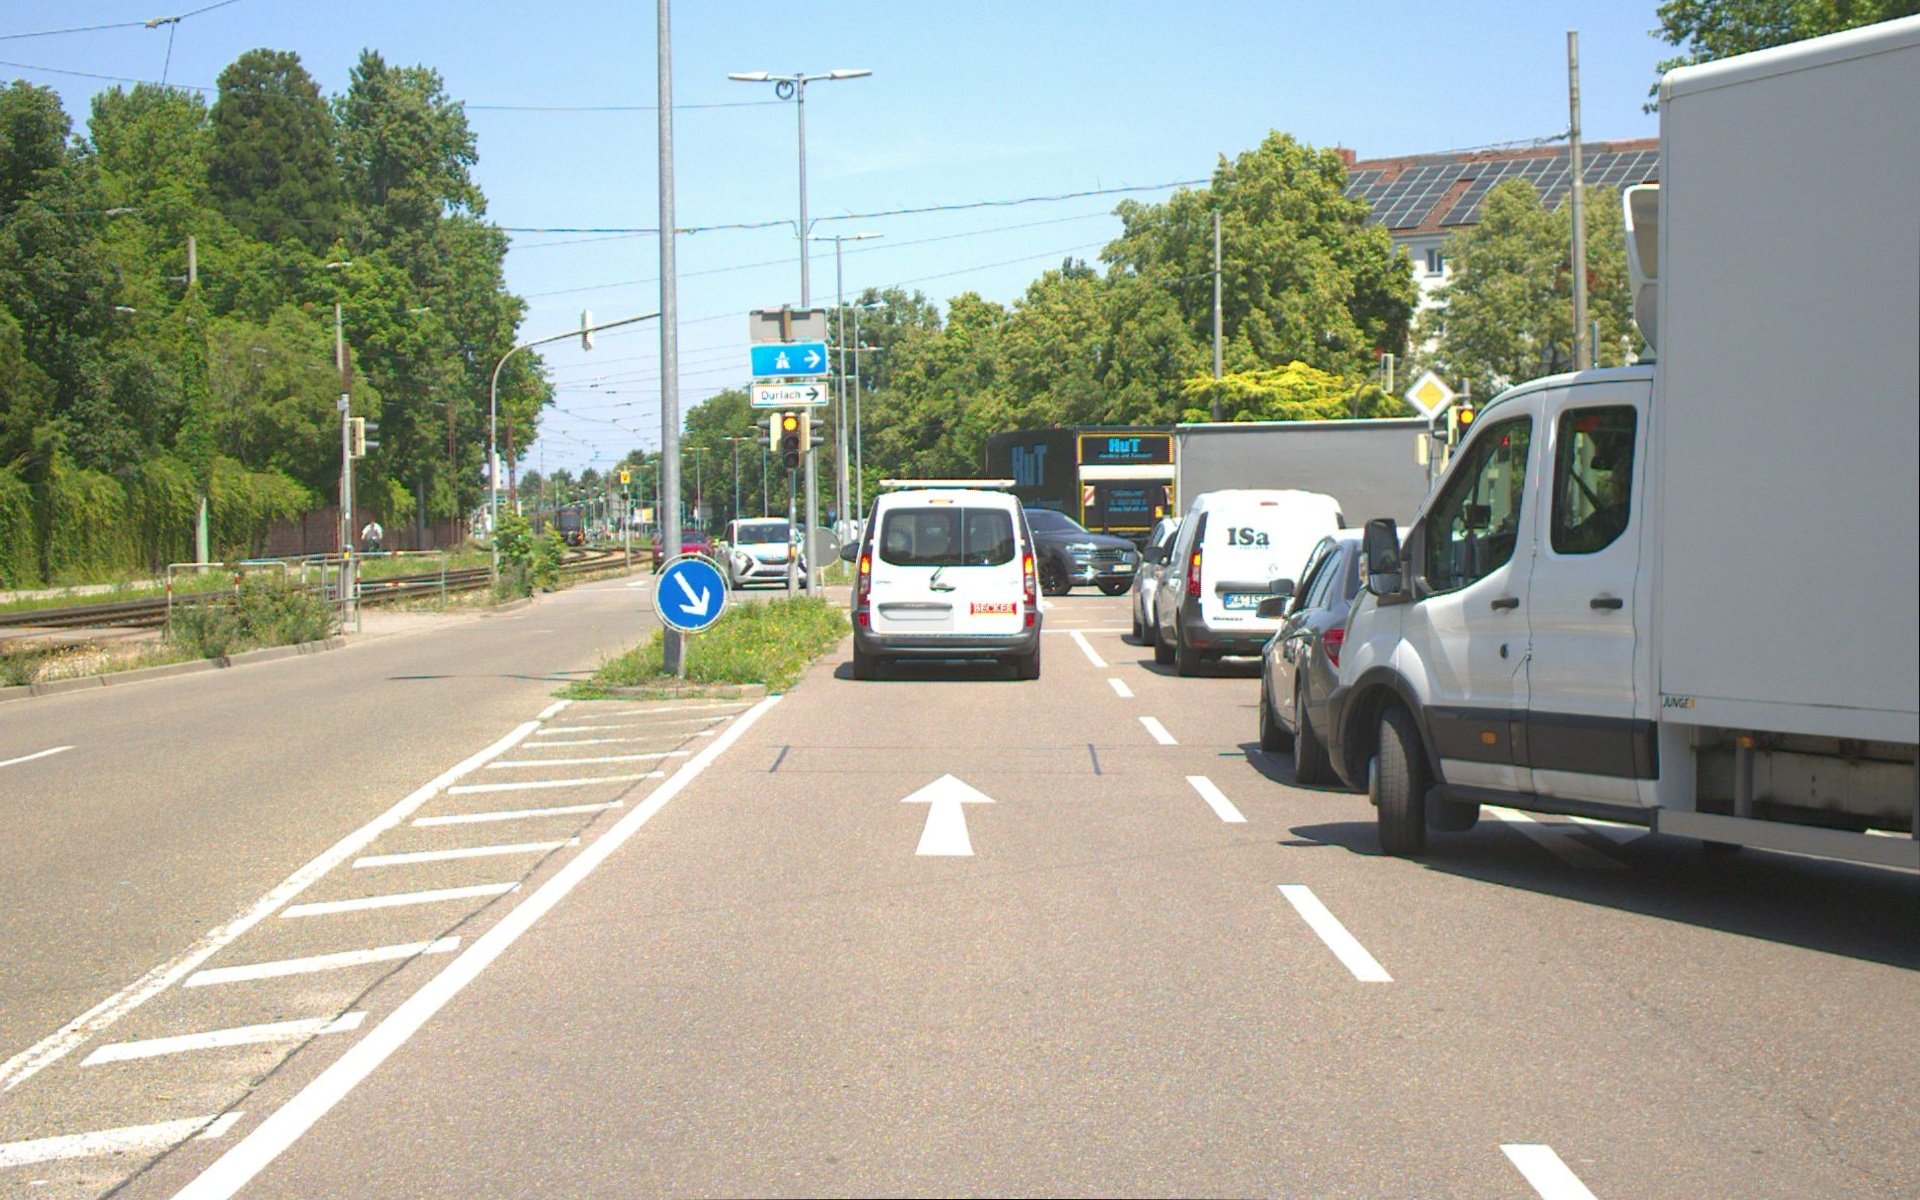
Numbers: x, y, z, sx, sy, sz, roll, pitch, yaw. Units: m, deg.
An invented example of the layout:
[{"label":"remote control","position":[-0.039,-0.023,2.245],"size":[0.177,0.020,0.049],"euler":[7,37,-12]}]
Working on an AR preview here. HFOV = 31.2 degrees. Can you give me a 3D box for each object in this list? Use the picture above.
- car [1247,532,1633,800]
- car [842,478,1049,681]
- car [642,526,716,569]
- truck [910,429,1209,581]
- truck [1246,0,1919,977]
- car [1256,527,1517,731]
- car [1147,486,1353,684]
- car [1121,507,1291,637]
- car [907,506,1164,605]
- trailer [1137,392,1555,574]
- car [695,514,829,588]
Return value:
[{"label":"car","position":[2.808,0.319,20.997],"size":[1.795,1.444,4.418],"euler":[0,1,1]},{"label":"car","position":[-0.158,-0.231,33.291],"size":[1.866,1.829,3.849],"euler":[-1,1,-1]},{"label":"car","position":[-9.229,-1.746,113.140],"size":[1.984,1.354,4.538],"euler":[0,1,1]},{"label":"truck","position":[2.372,-2.357,86.335],"size":[3.575,3.620,8.810],"euler":[-1,1,-28]},{"label":"truck","position":[3.923,-0.453,13.276],"size":[2.419,3.380,7.836],"euler":[-1,1,-21]},{"label":"car","position":[3.243,0.187,26.665],"size":[1.607,1.446,3.521],"euler":[1,1,1]},{"label":"car","position":[2.806,-0.182,33.985],"size":[1.710,1.824,4.014],"euler":[0,1,0]},{"label":"car","position":[2.942,-0.370,41.777],"size":[1.756,1.481,4.000],"euler":[-1,1,0]},{"label":"car","position":[1.445,-0.843,65.455],"size":[4.528,1.823,1.999],"euler":[0,1,16]},{"label":"trailer","position":[8.905,-2.644,79.766],"size":[8.963,4.037,3.533],"euler":[0,1,32]},{"label":"car","position":[-4.537,-1.124,78.230],"size":[1.993,1.612,4.457],"euler":[-1,1,-18]}]
